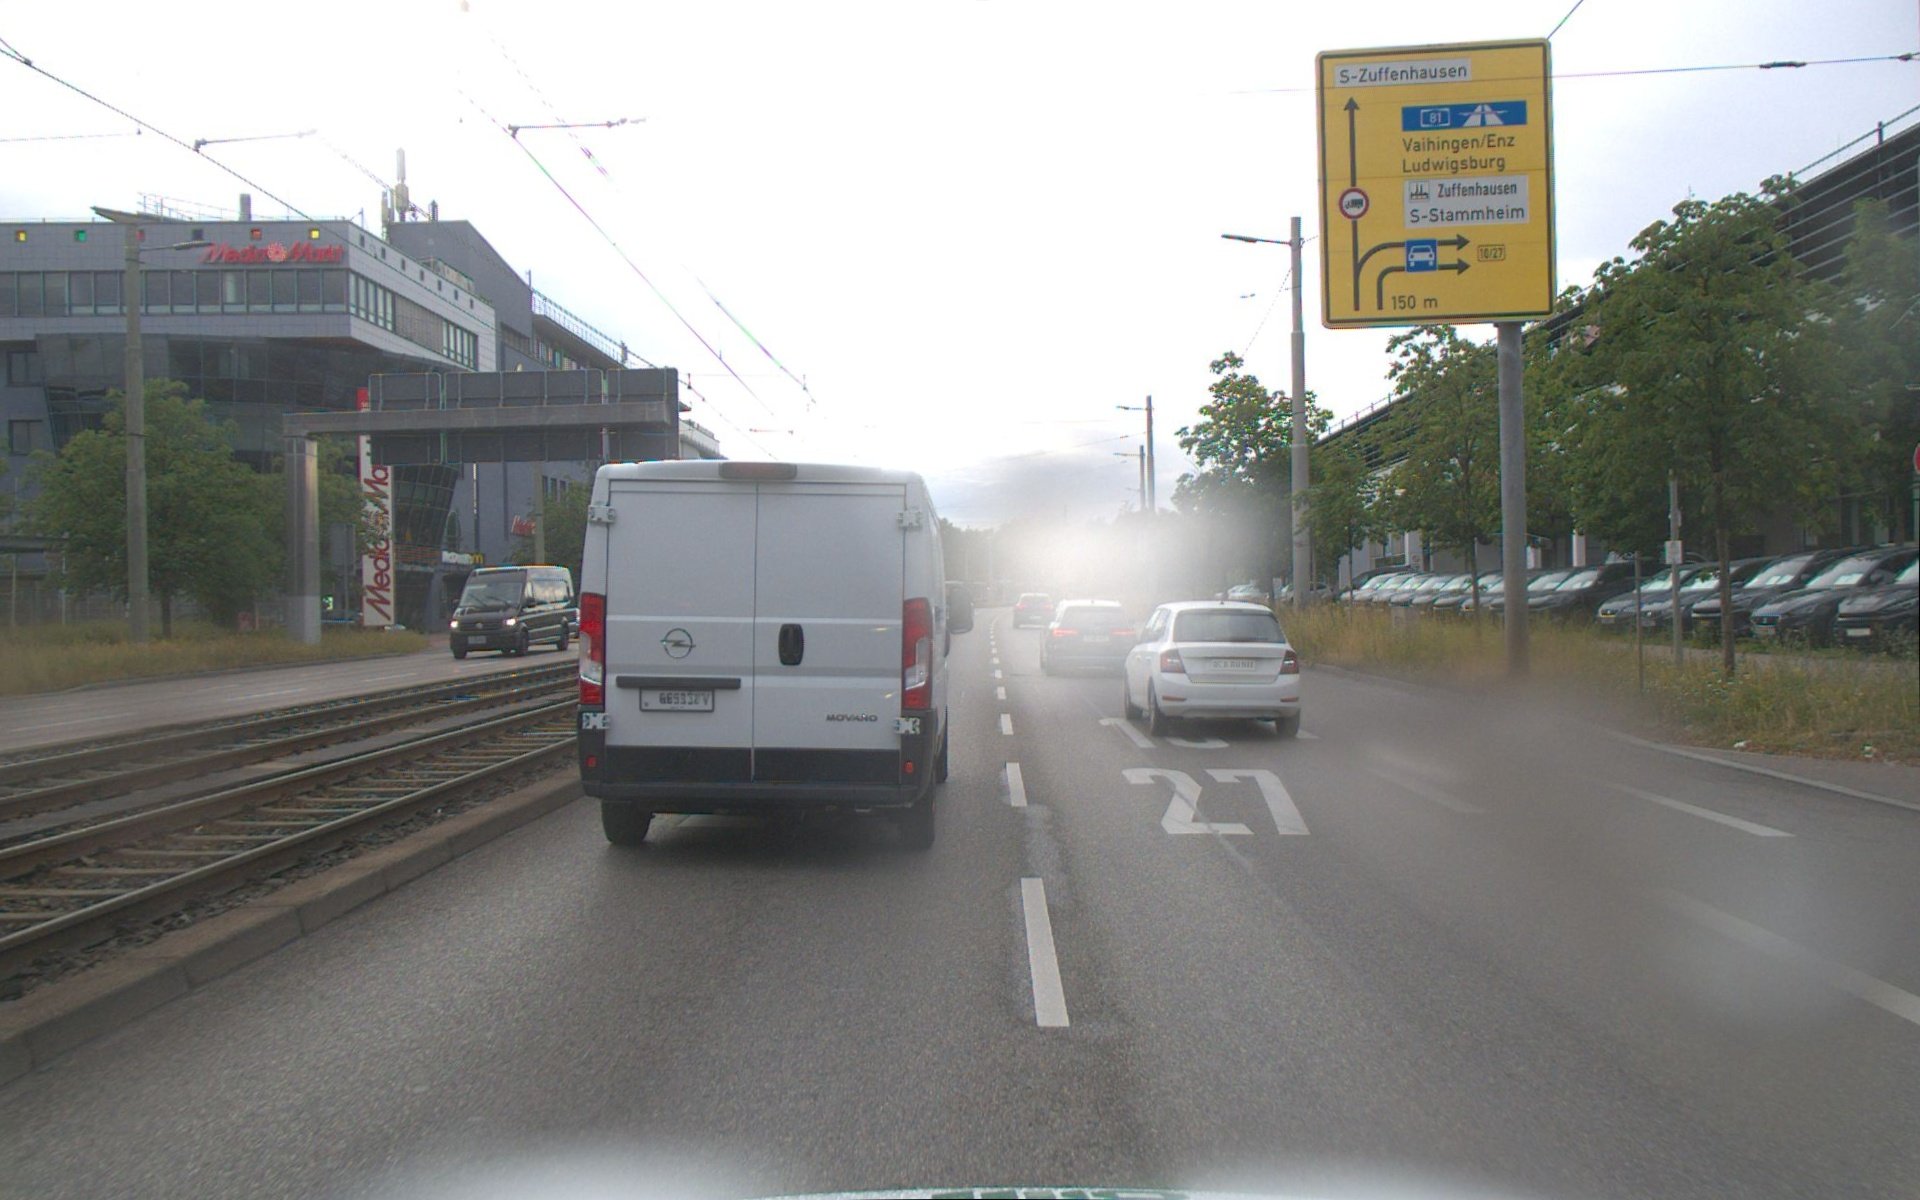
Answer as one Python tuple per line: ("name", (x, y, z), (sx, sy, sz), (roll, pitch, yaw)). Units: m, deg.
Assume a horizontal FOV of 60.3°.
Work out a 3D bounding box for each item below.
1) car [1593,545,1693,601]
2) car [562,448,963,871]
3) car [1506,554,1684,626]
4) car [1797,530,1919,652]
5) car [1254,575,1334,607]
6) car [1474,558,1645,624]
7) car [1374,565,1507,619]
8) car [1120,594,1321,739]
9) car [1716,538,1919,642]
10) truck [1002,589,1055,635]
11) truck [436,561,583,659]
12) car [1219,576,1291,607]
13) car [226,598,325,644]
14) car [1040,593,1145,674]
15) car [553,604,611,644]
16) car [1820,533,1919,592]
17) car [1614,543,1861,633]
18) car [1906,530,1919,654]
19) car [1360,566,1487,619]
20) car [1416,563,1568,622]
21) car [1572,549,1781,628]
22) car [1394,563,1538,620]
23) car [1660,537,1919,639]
("car", (25.195, -0.983, 61.167), (1.848, 1.972, 4.429), (-1, 0, 0))
("car", (-1.053, 0.293, 11.387), (2.047, 2.235, 5.062), (1, 0, 1))
("car", (16.053, -0.250, 41.819), (3.983, 1.603, 1.723), (-3, 0, -19))
("car", (16.038, -0.227, 26.555), (4.405, 1.827, 1.816), (-3, 0, -11))
("car", (17.782, -0.473, 87.938), (4.047, 1.491, 1.729), (-3, -1, -32))
("car", (16.160, -0.234, 44.619), (4.077, 1.561, 1.784), (-3, 0, -19))
("car", (16.218, -0.272, 55.785), (4.085, 1.597, 1.813), (-3, 0, -24))
("car", (2.927, 0.691, 19.300), (1.711, 1.483, 3.670), (1, 0, -1))
("car", (16.013, -0.225, 29.356), (4.402, 1.647, 1.818), (-3, 0, -8))
("truck", (2.847, 0.474, 69.645), (1.953, 1.822, 4.413), (-1, 0, -1))
("truck", (-13.203, 0.267, 49.063), (2.192, 2.609, 7.015), (-3, 0, 1))
("car", (17.372, -0.492, 97.306), (4.054, 1.596, 1.777), (-2, -1, -36))
("car", (-32.778, 0.989, 79.312), (3.910, 2.049, 1.998), (-1, 0, -6))
("car", (2.537, 0.599, 32.417), (1.752, 1.474, 4.000), (0, 0, 0))
("car", (-15.201, 0.955, 66.670), (1.768, 1.454, 4.230), (-2, 0, -6))
("car", (24.635, -0.977, 43.825), (1.631, 1.498, 3.899), (-1, 0, 0))
("car", (16.144, -0.250, 34.422), (4.405, 1.596, 1.817), (-3, 0, -11))
("car", (16.065, -0.225, 23.480), (4.405, 1.782, 1.816), (-3, 0, -11))
("car", (16.452, -0.270, 58.671), (4.085, 1.632, 1.813), (-3, 0, -24))
("car", (16.118, -0.226, 50.130), (4.077, 1.554, 1.821), (-3, 0, -19))
("car", (15.872, -0.250, 36.696), (3.971, 1.528, 1.683), (-3, 0, -11))
("car", (16.183, -0.270, 52.898), (4.082, 1.597, 1.896), (-3, 0, -22))
("car", (15.986, -0.230, 31.728), (4.405, 1.692, 1.817), (-3, 0, -11))
